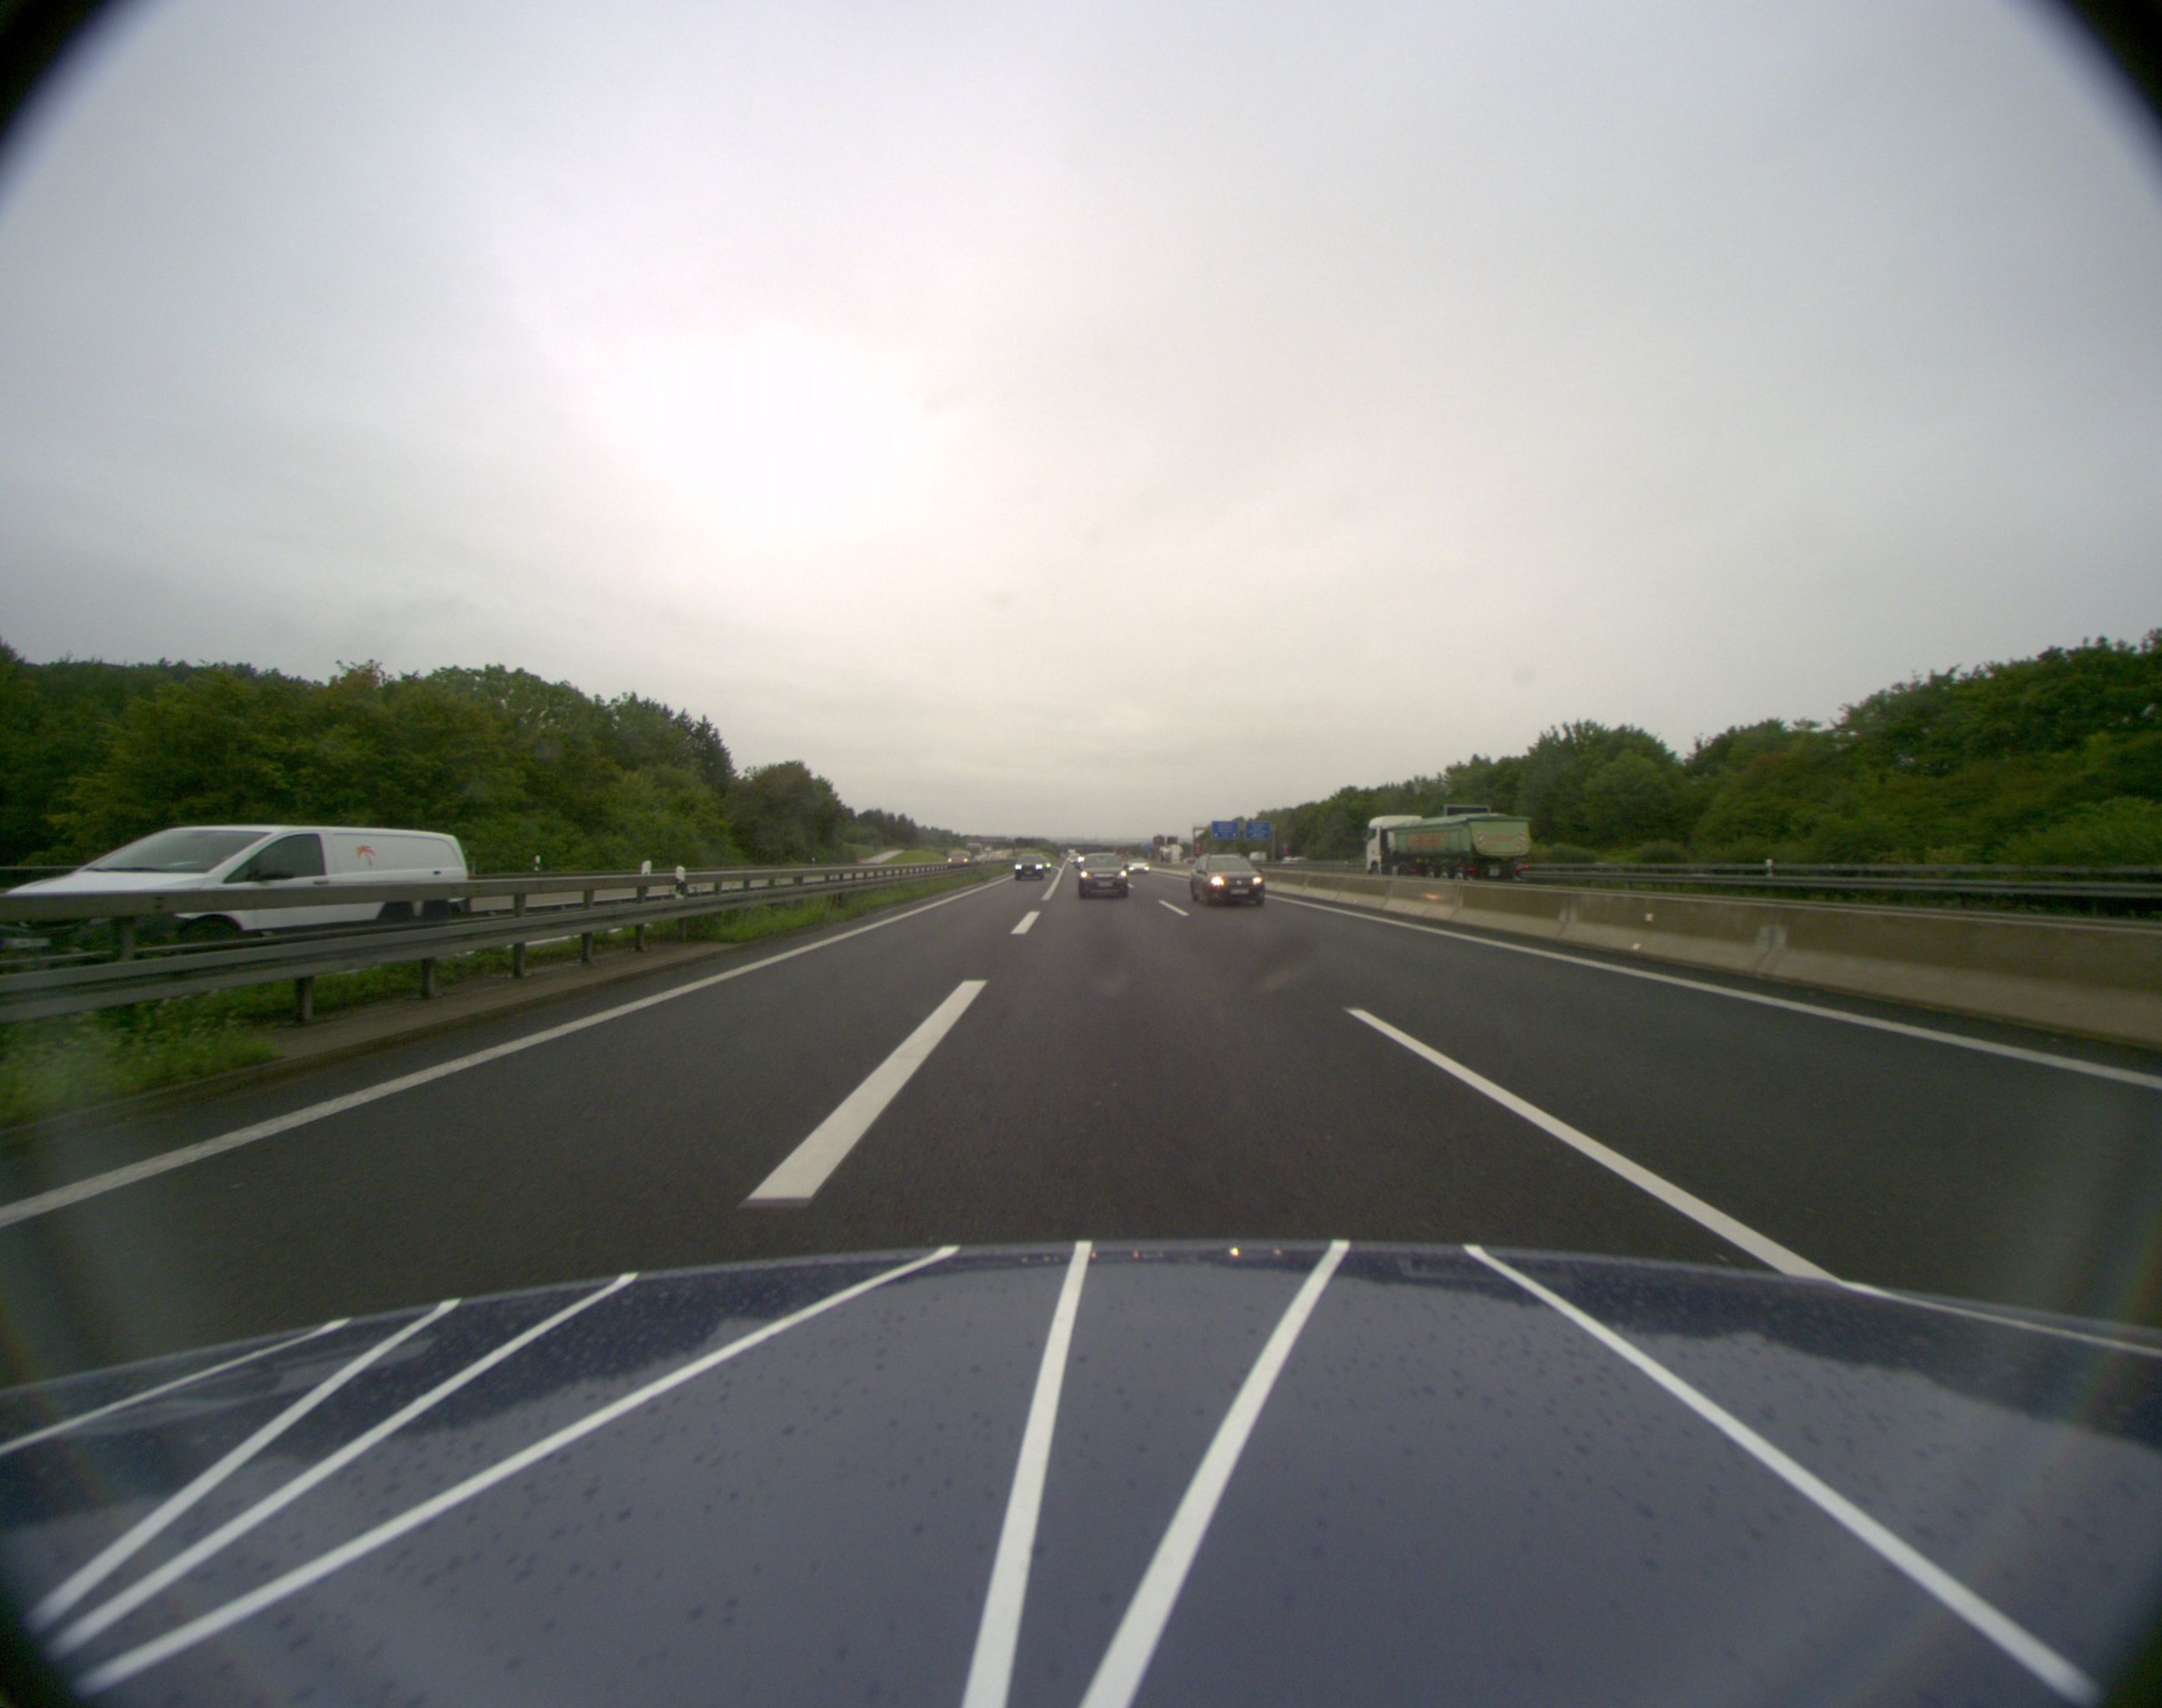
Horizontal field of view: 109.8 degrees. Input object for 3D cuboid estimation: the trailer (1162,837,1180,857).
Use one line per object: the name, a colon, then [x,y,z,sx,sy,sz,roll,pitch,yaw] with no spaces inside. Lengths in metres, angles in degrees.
trailer: [16.713,-1.326,141.097,2.643,3.694,6.491,-1,1,0]

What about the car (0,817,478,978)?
car: [-11.121,0.443,10.368,1.913,1.684,4.718,-1,1,1]

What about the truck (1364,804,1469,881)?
truck: [17.447,-0.599,40.013,2.894,3.727,5.944,-1,1,0]

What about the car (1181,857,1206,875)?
car: [12.991,1.359,87.990,1.900,1.865,4.540,-1,1,-3]

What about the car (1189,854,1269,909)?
car: [4.501,0.774,23.749,1.725,1.481,4.567,-1,1,1]

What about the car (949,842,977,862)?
car: [-12.045,-0.224,77.798,2.130,2.002,5.075,-1,1,-2]

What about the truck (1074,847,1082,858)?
truck: [-1.070,-0.497,265.312,2.798,3.878,10.027,-1,1,1]

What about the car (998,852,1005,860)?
car: [-21.183,0.585,203.027,1.753,2.002,4.495,-1,1,-7]

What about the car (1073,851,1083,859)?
car: [-0.569,0.255,147.513,1.919,1.481,4.566,-1,1,-2]

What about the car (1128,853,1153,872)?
car: [5.080,0.717,65.184,1.726,1.481,4.566,-1,1,-1]

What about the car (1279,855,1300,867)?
car: [28.171,0.903,102.829,1.708,1.499,3.999,-1,1,0]

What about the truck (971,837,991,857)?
truck: [-19.777,-1.400,150.215,2.799,3.878,10.025,-1,1,-2]

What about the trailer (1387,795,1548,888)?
trailer: [17.500,-0.555,35.331,2.910,3.727,8.926,-1,1,0]

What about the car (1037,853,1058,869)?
car: [-3.239,0.649,74.114,1.885,1.519,3.999,-1,1,0]

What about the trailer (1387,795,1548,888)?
trailer: [17.500,-0.555,35.331,2.910,3.727,8.926,-1,1,0]

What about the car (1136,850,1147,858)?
car: [11.908,-0.024,149.524,1.813,1.571,4.354,-1,1,-2]

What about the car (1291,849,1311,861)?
car: [32.914,0.163,113.661,1.708,1.759,3.999,-1,1,-2]

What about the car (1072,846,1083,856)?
car: [-0.734,-0.670,153.593,2.016,1.994,4.566,-1,1,-2]

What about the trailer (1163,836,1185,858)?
trailer: [16.618,-1.279,136.280,2.643,3.715,10.810,-1,1,0]

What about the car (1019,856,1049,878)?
car: [-3.241,0.877,52.842,1.867,1.349,4.566,-1,1,-1]

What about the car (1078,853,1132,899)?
car: [0.859,0.774,28.882,1.813,1.571,3.834,-1,1,-1]

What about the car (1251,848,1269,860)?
car: [31.591,0.010,134.108,1.878,2.002,5.298,-1,1,0]
